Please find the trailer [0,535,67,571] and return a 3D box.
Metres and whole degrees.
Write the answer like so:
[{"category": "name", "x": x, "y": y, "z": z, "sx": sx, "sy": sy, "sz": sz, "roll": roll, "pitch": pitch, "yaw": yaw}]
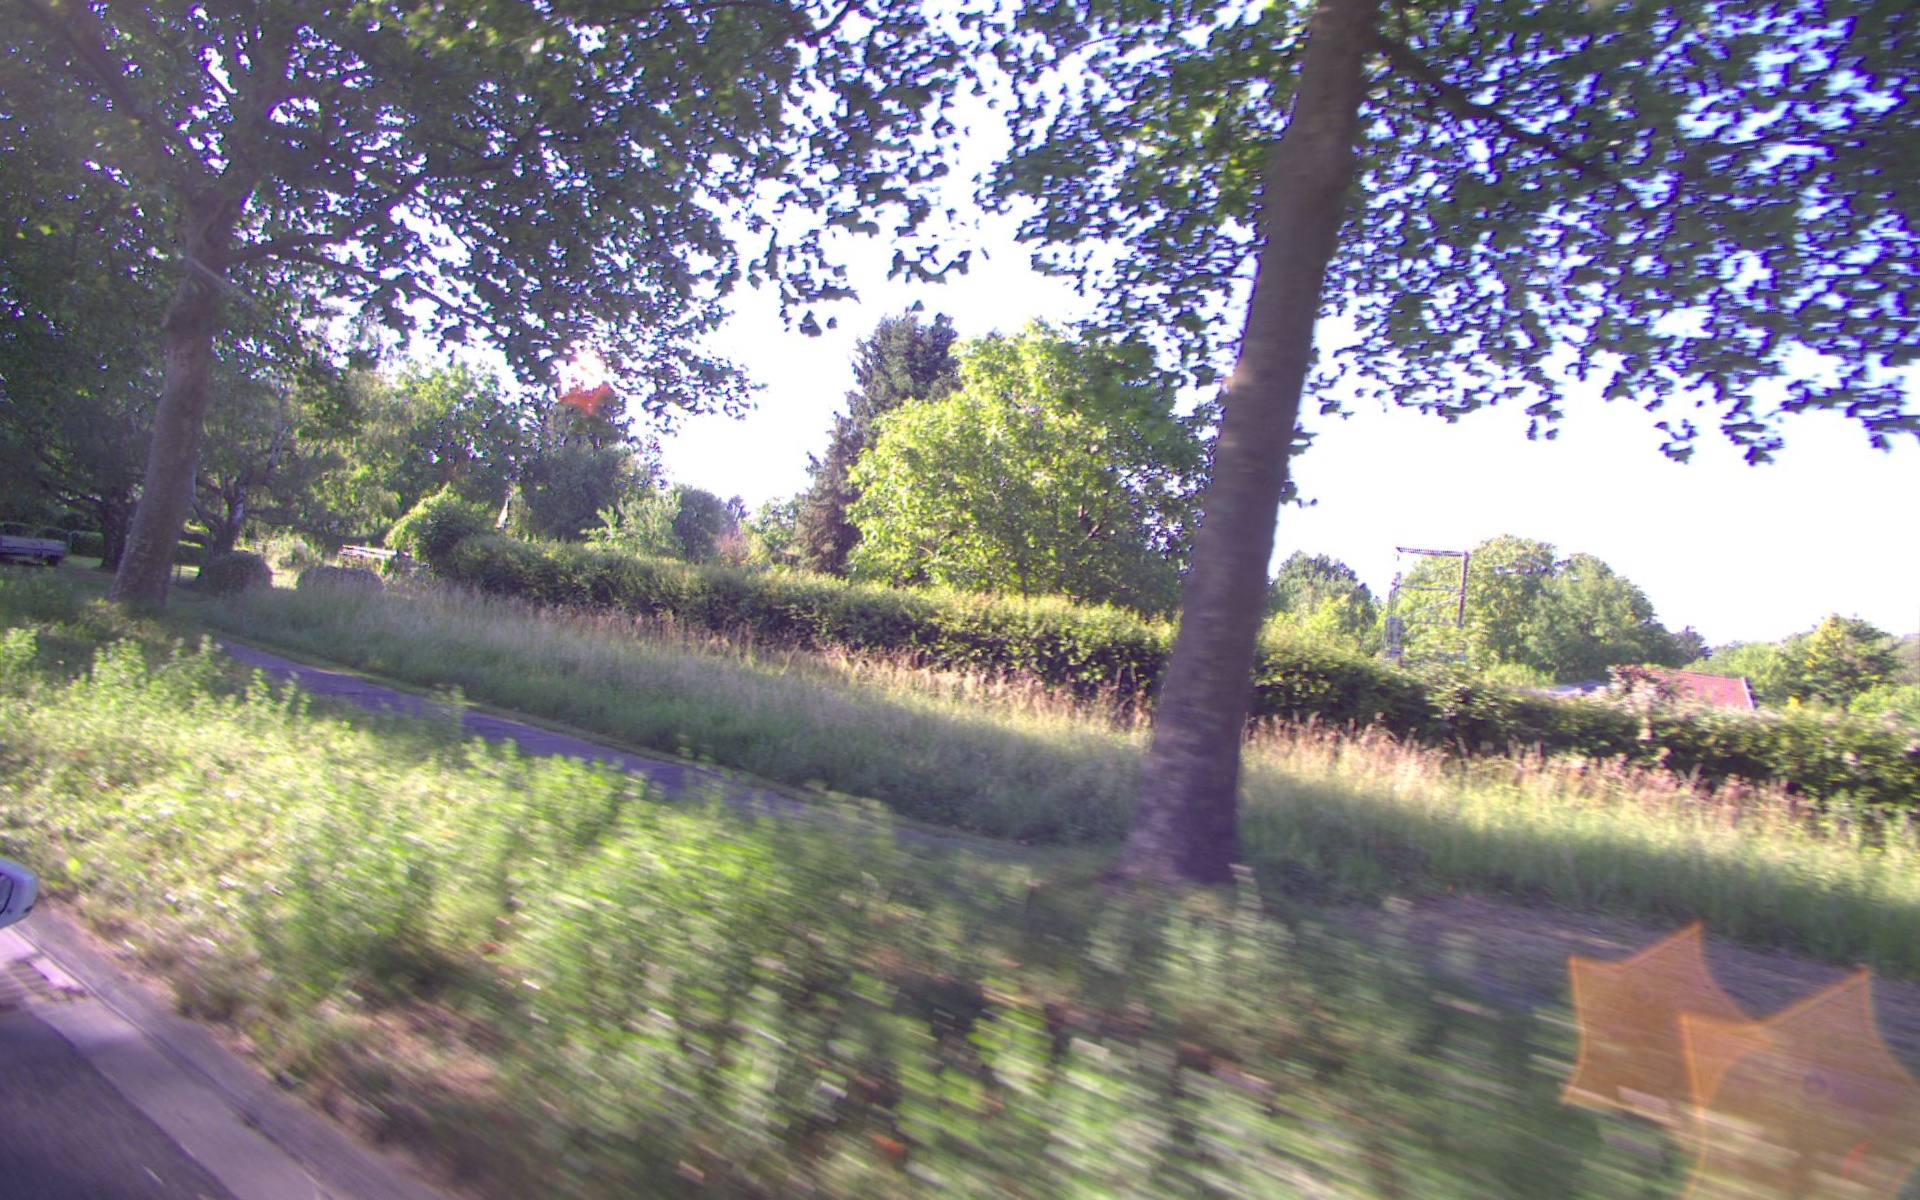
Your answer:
[{"category": "trailer", "x": -34.523, "y": -1.745, "z": 37.111, "sx": 1.183, "sy": 1.065, "sz": 2.118, "roll": 6, "pitch": -2, "yaw": 38}]
